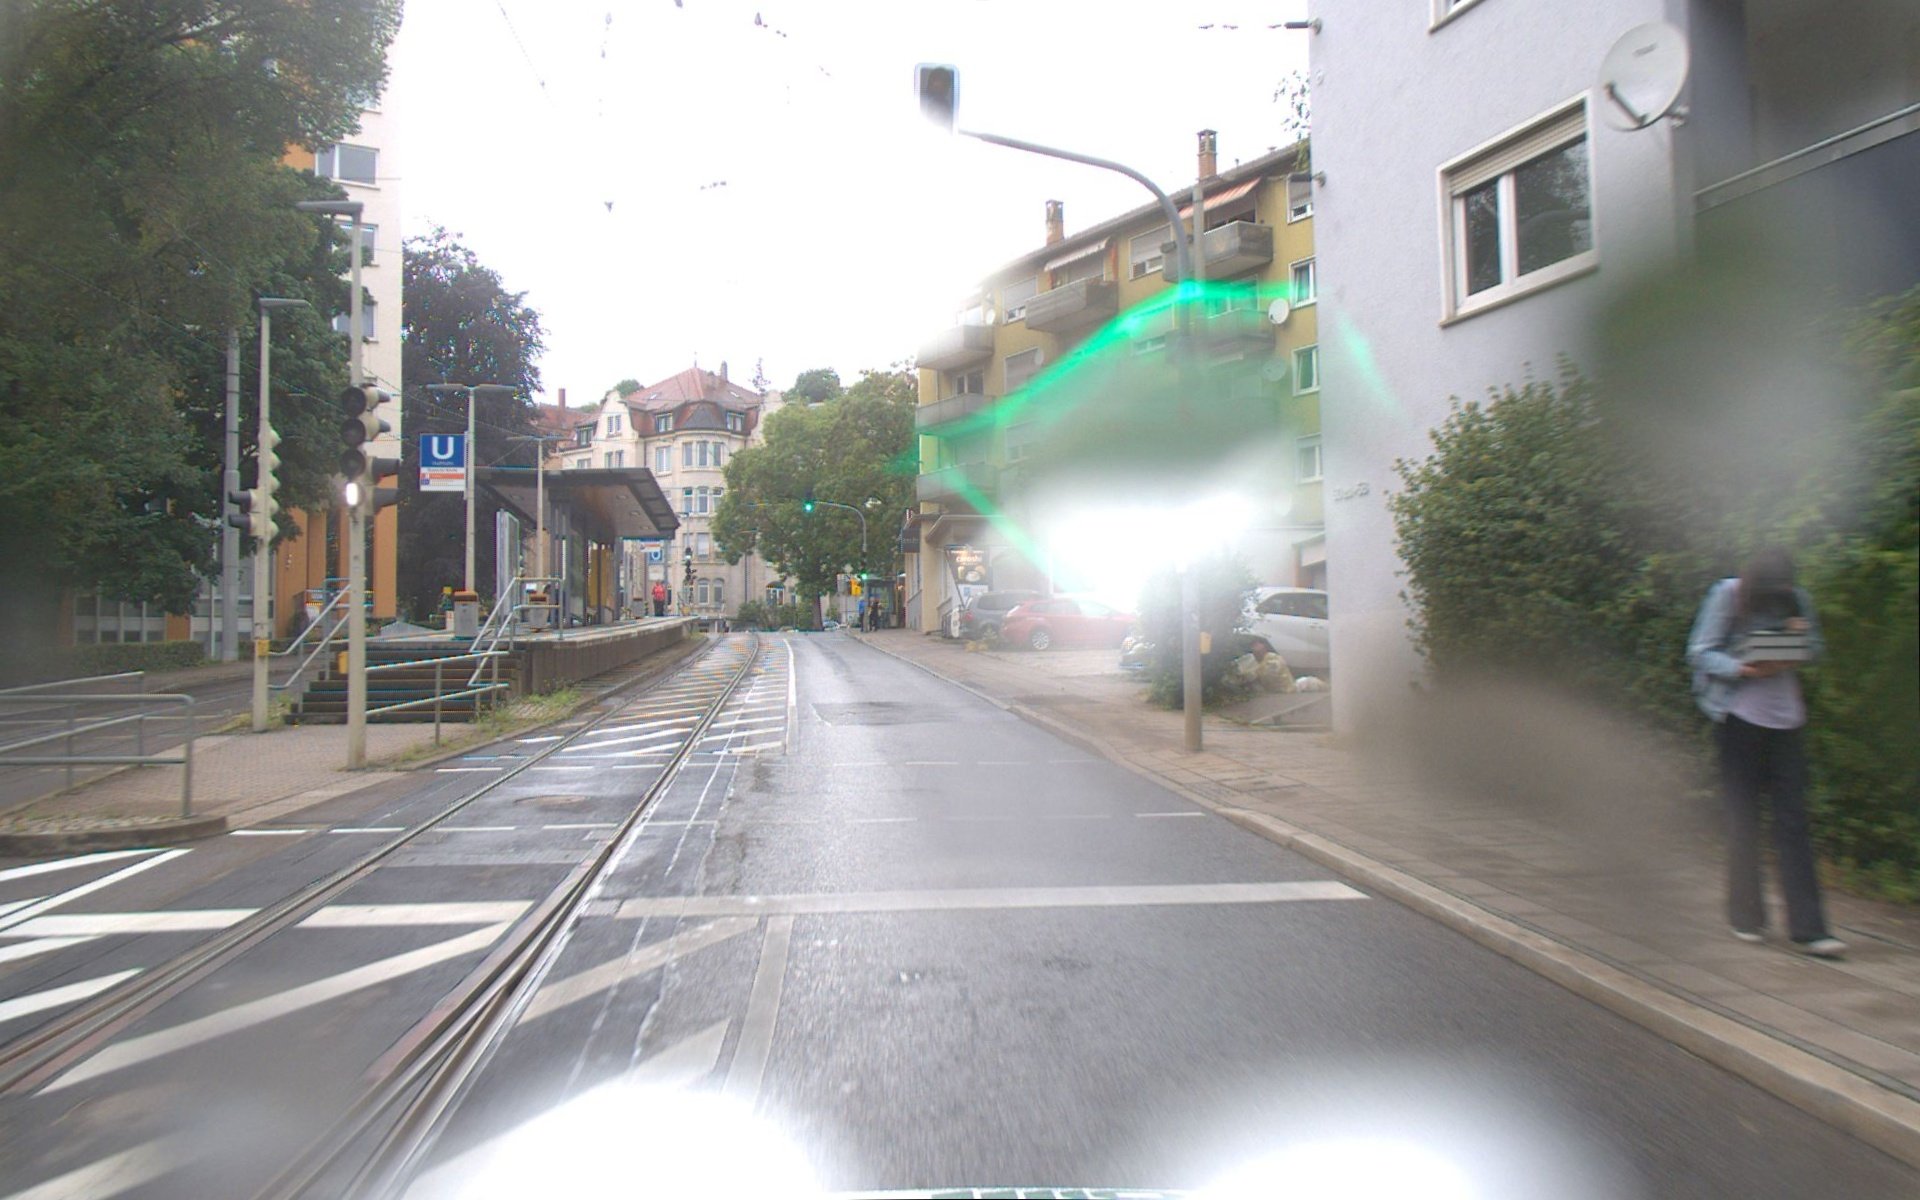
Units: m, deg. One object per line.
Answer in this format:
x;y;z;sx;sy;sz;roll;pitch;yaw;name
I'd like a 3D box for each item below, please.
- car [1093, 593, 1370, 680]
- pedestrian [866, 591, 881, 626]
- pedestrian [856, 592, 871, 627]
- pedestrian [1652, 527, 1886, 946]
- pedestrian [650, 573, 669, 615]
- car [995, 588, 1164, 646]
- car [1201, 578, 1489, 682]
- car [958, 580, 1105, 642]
5.110;0.678;31.474;4.836;1.461;1.972;1;2;-6;car
-4.031;0.402;77.070;0.535;1.581;0.557;-2;0;-9;pedestrian
-4.463;0.437;76.179;0.577;1.581;0.649;-2;0;-7;pedestrian
3.333;0.542;6.857;0.643;1.649;0.630;1;-1;-1;pedestrian
-11.588;-0.234;63.831;0.658;1.575;0.770;-1;0;-7;pedestrian
3.341;0.472;46.741;4.482;1.463;1.762;-2;0;-7;car
5.855;0.459;25.362;3.916;1.492;1.812;1;0;-12;car
2.134;0.332;50.305;4.244;1.703;1.779;-2;0;-5;car
